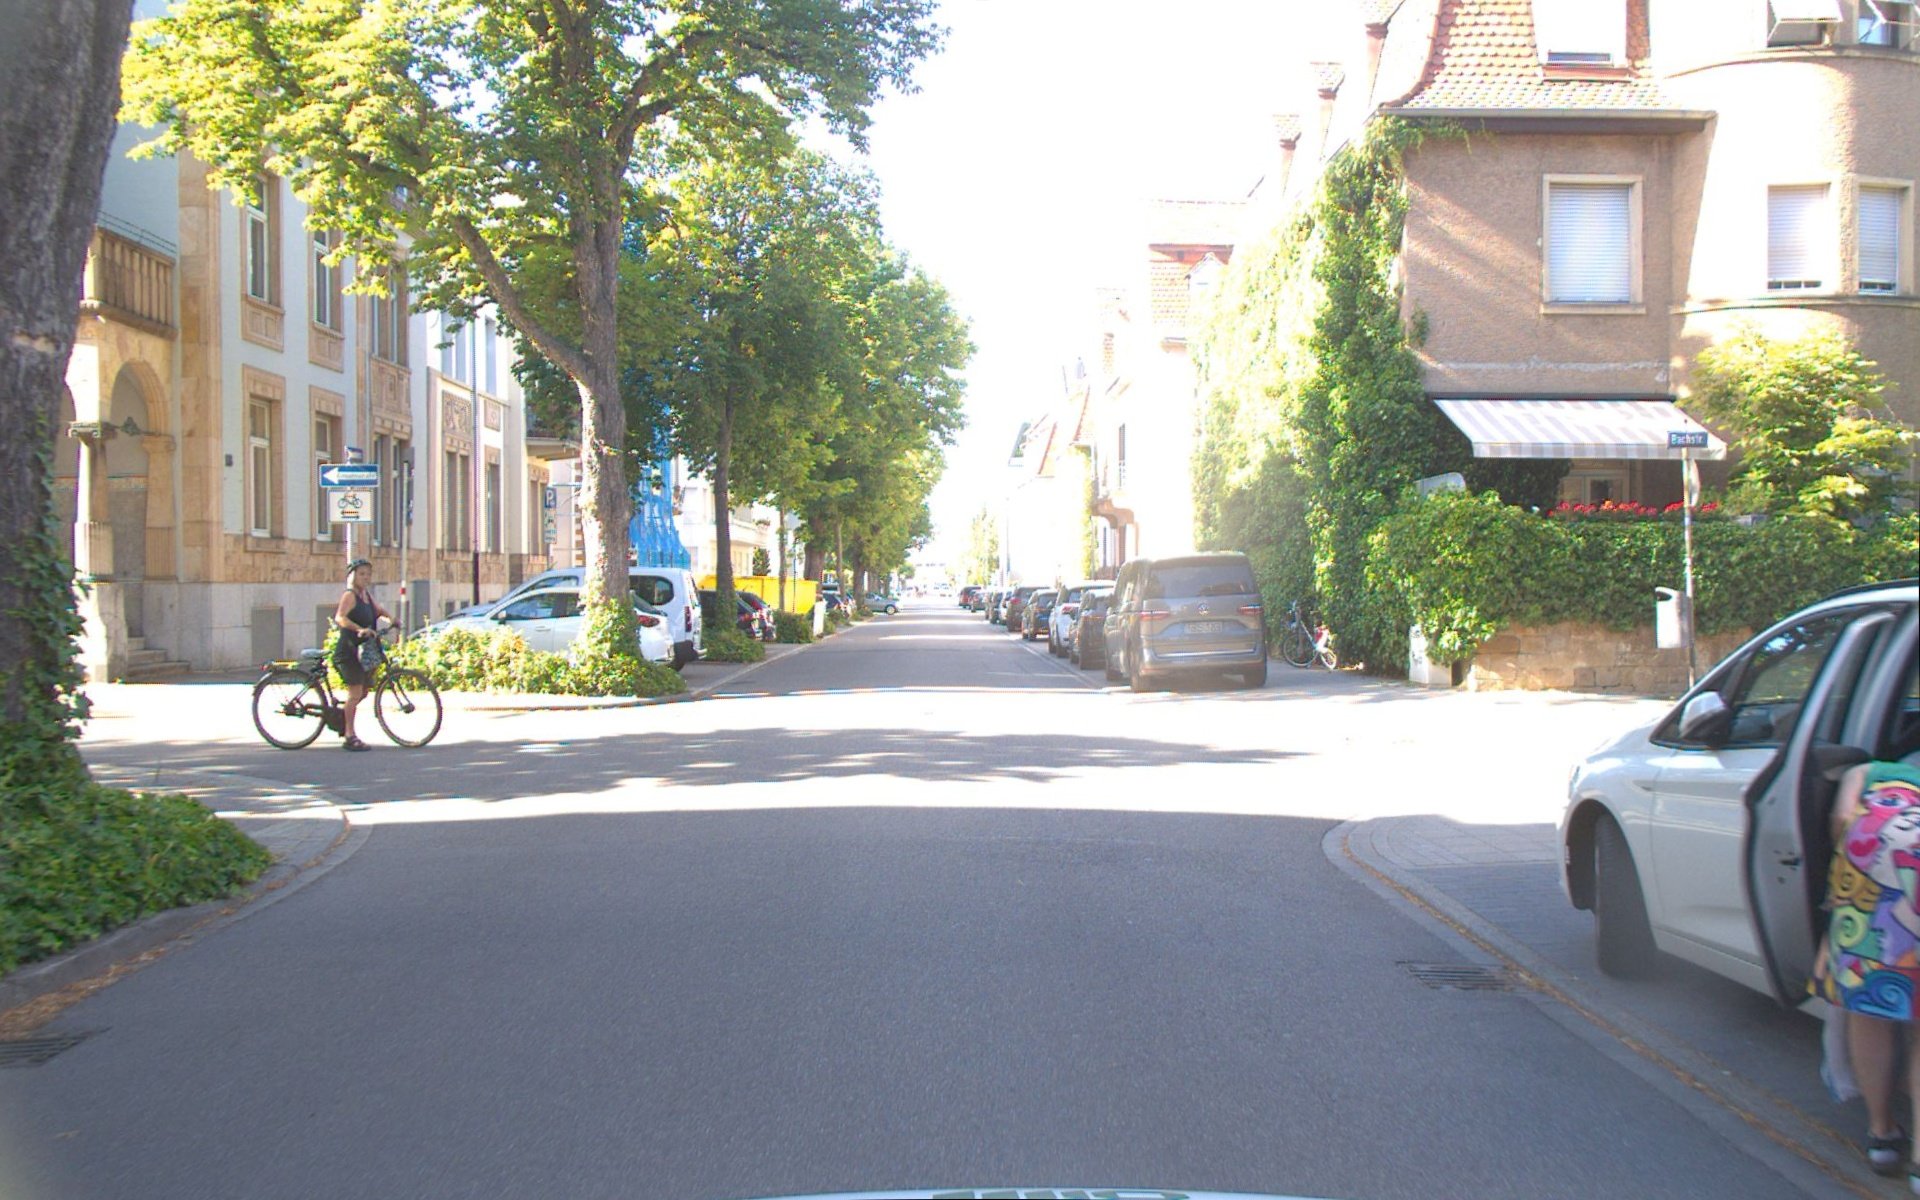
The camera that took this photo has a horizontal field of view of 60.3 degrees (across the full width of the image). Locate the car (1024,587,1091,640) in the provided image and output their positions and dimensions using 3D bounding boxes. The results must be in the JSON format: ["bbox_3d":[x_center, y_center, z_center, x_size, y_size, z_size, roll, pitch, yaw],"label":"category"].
[{"bbox_3d":[2.799,0.362,48.249,1.735,1.480,3.866,0,1,0],"label":"car"}]

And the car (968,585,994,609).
[{"bbox_3d":[1.403,-0.222,113.781,1.735,1.660,3.866,0,1,0],"label":"car"}]

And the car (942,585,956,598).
[{"bbox_3d":[-1.406,-1.061,213.277,1.735,1.660,3.866,0,1,0],"label":"car"}]

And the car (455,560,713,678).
[{"bbox_3d":[-6.191,0.320,27.604,3.909,1.791,1.796,2,0,-5],"label":"car"}]

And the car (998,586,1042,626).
[{"bbox_3d":[2.578,0.255,71.695,1.735,1.660,3.866,0,1,0],"label":"car"}]

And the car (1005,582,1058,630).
[{"bbox_3d":[2.519,0.190,59.051,1.735,1.660,3.866,0,1,0],"label":"car"}]

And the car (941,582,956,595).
[{"bbox_3d":[-1.411,-1.439,205.324,1.735,1.660,3.866,0,1,0],"label":"car"}]

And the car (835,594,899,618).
[{"bbox_3d":[-5.871,0.390,104.321,3.905,1.434,1.702,0,0,1],"label":"car"}]

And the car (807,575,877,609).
[{"bbox_3d":[-7.051,-0.516,98.935,3.924,1.873,2.001,2,1,1],"label":"car"}]

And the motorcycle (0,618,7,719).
[{"bbox_3d":[-12.445,0.811,19.317,2.164,1.197,0.899,-1,-2,7],"label":"motorcycle"}]

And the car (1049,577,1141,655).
[{"bbox_3d":[2.959,0.312,36.964,1.753,1.646,3.866,0,1,0],"label":"car"}]

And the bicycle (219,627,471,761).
[{"bbox_3d":[-5.523,0.835,14.931,1.949,1.084,0.760,-2,1,2],"label":"bicycle"}]

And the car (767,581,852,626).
[{"bbox_3d":[-7.146,0.144,78.404,3.913,2.049,1.996,-1,0,-9],"label":"car"}]

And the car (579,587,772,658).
[{"bbox_3d":[-6.231,0.475,36.546,3.905,1.495,1.864,0,1,1],"label":"car"}]

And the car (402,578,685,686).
[{"bbox_3d":[-6.308,0.482,25.404,3.909,1.490,1.796,2,-1,-5],"label":"car"}]

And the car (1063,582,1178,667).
[{"bbox_3d":[2.982,0.419,31.389,1.656,1.423,3.805,-3,1,-1],"label":"car"}]

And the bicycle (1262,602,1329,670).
[{"bbox_3d":[5.475,0.565,27.088,0.576,1.041,2.369,-1,0,-1],"label":"bicycle"}]

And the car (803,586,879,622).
[{"bbox_3d":[-6.430,0.187,89.780,3.924,1.765,1.895,2,1,1],"label":"car"}]

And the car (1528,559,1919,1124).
[{"bbox_3d":[3.492,0.659,5.334,1.666,1.566,4.153,-3,0,-3],"label":"car"}]

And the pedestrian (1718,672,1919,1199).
[{"bbox_3d":[2.511,0.852,4.326,0.710,1.279,0.645,-1,0,-8],"label":"pedestrian"}]

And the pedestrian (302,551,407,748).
[{"bbox_3d":[-5.451,0.431,14.909,0.617,1.724,0.652,-2,1,3],"label":"pedestrian"}]

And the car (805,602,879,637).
[{"bbox_3d":[-6.557,1.085,92.371,3.924,1.765,1.895,2,1,1],"label":"car"}]

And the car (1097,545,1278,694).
[{"bbox_3d":[3.260,0.239,24.603,1.866,1.903,4.672,-3,1,-1],"label":"car"}]

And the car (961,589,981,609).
[{"bbox_3d":[0.925,-0.084,142.274,1.735,1.660,3.866,0,1,0],"label":"car"}]

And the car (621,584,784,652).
[{"bbox_3d":[-6.435,0.422,41.420,3.913,1.579,1.833,-1,1,-9],"label":"car"}]
